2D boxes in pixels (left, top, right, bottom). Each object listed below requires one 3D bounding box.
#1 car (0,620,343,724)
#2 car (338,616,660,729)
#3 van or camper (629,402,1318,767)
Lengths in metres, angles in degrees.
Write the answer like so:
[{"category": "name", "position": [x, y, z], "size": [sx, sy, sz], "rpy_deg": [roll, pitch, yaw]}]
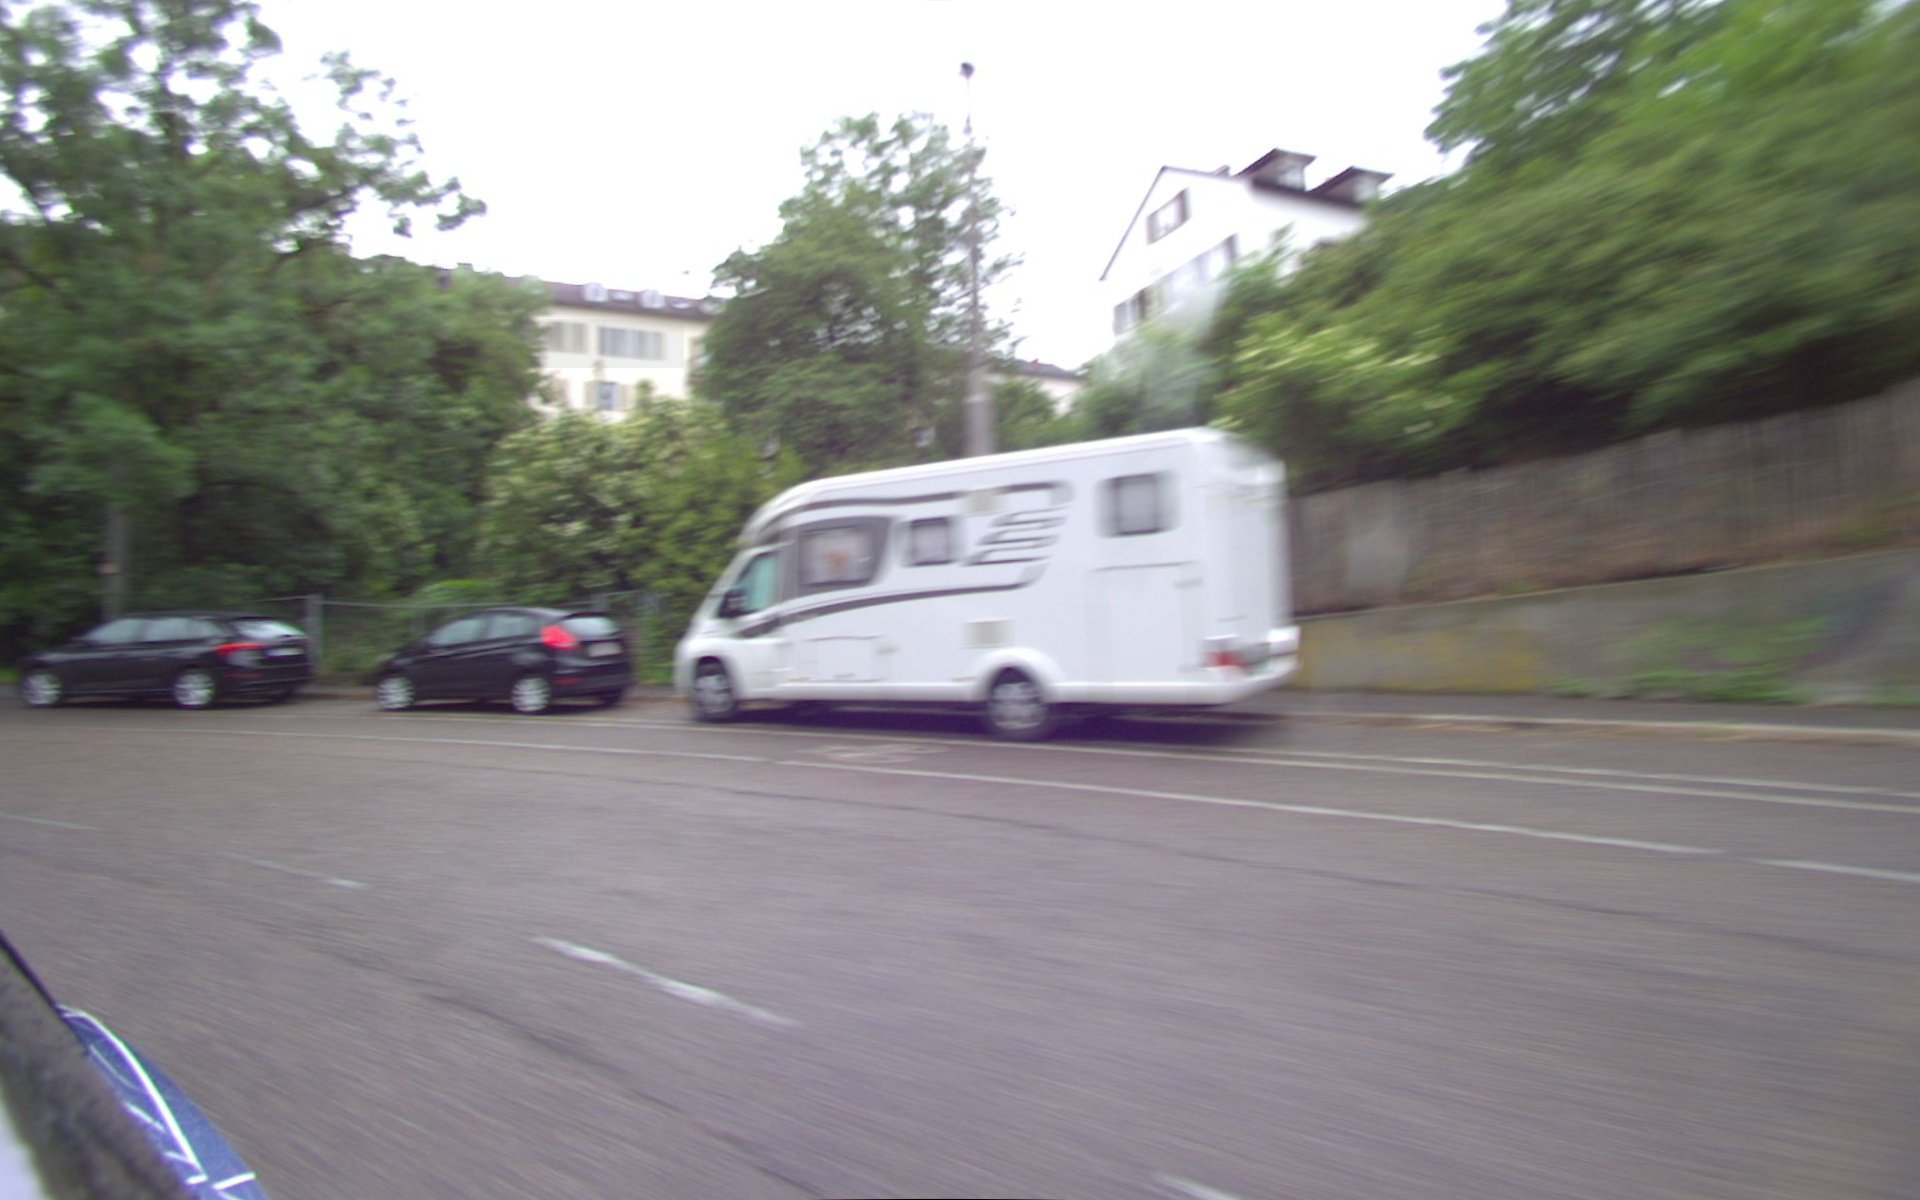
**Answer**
[{"category": "car", "position": [-12.358, 1.065, 15.845], "size": [4.320, 1.475, 1.995], "rpy_deg": [0, -2, 8]}, {"category": "car", "position": [-6.555, 0.990, 14.448], "size": [4.103, 1.422, 1.901], "rpy_deg": [-1, -2, 22]}, {"category": "van or camper", "position": [-0.185, -0.030, 11.325], "size": [7.501, 2.989, 2.432], "rpy_deg": [-2, -1, 32]}]
